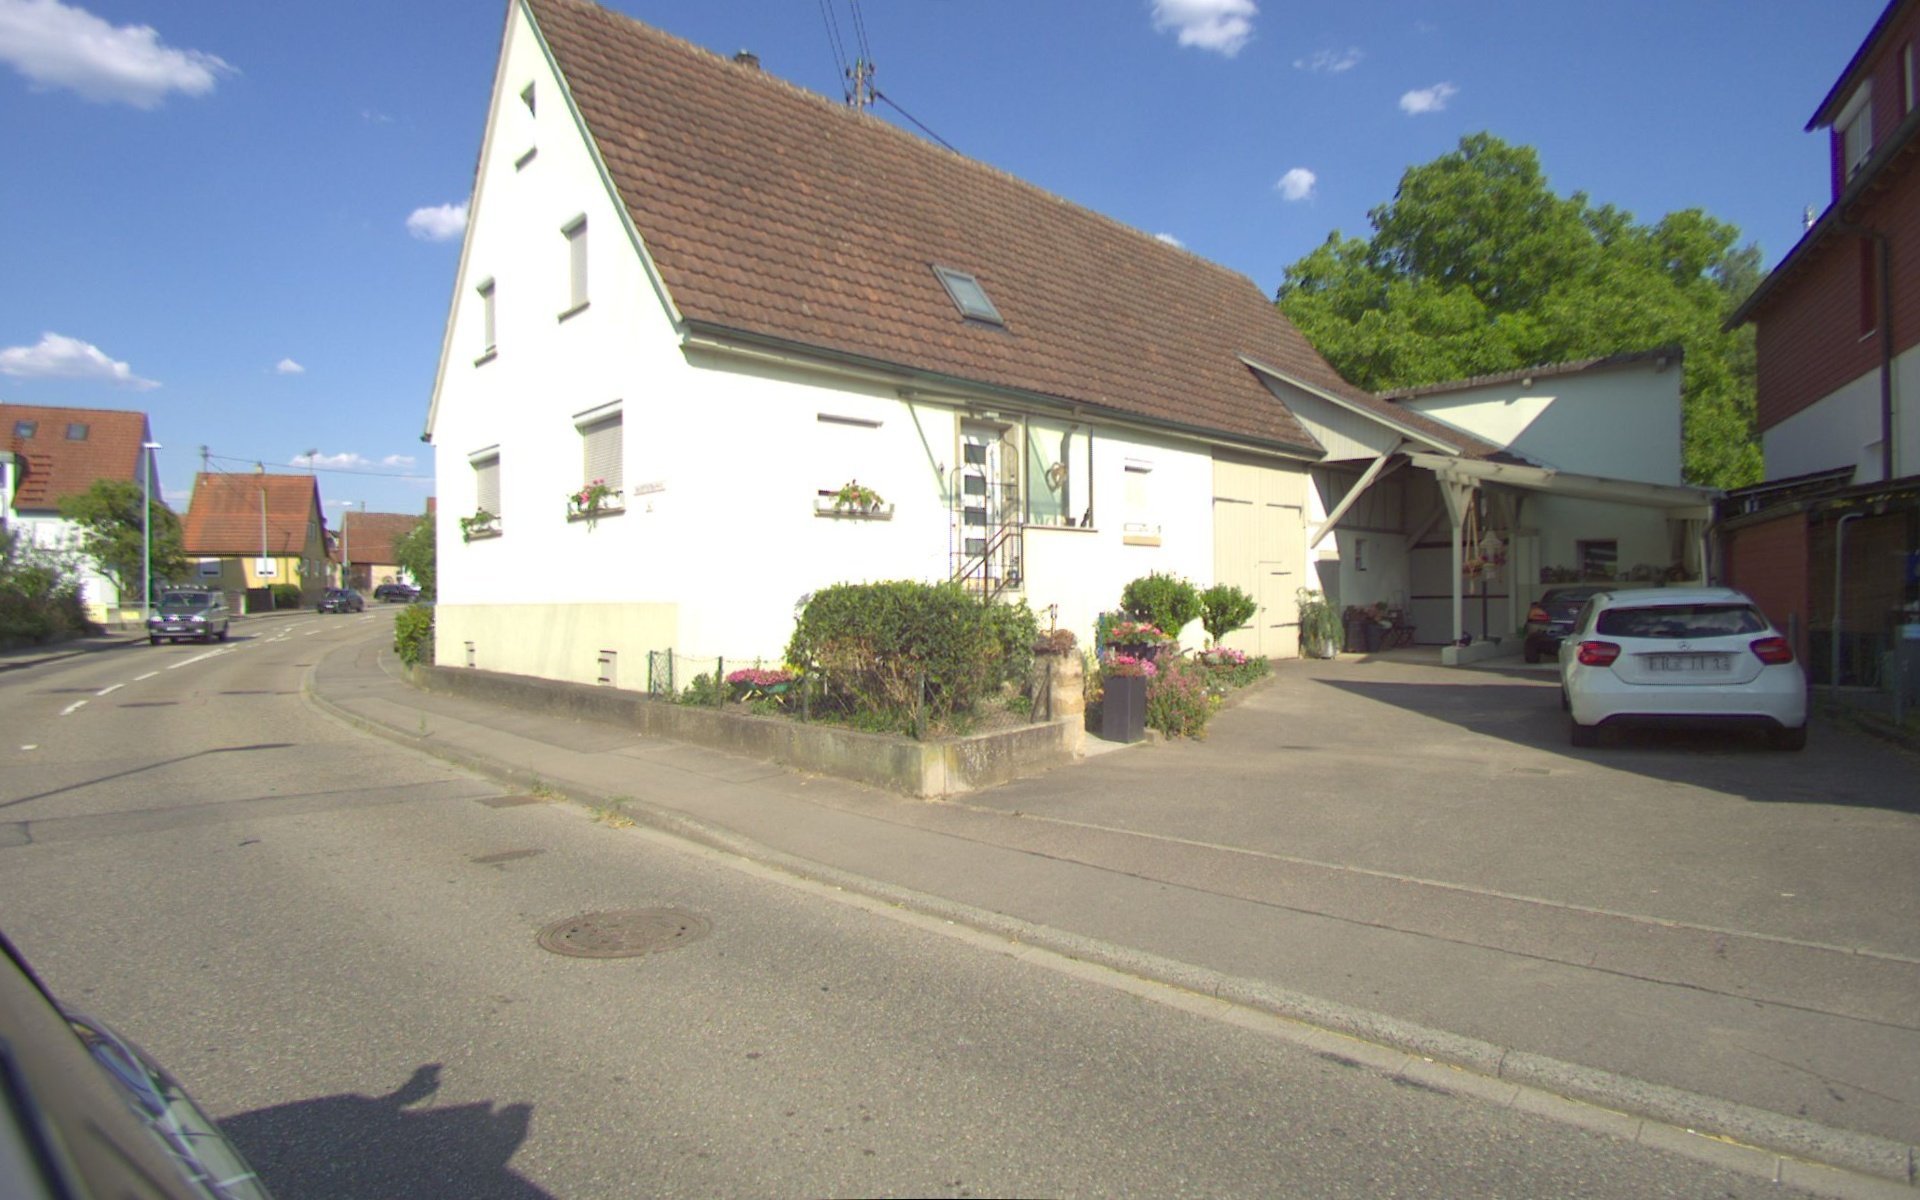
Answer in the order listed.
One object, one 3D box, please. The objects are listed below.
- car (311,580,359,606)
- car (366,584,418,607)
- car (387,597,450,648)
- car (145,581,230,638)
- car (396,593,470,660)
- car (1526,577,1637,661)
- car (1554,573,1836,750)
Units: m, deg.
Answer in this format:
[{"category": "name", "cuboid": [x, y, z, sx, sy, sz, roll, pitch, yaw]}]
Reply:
[{"category": "car", "cuboid": [-42.726, -0.477, 69.266, 1.940, 1.669, 4.013, 1, 0, -18]}, {"category": "car", "cuboid": [-53.241, -0.434, 94.977, 3.931, 2.029, 1.981, 1, 0, -20]}, {"category": "car", "cuboid": [-17.115, 0.671, 32.110, 1.487, 1.477, 3.670, -1, 0, -24]}, {"category": "car", "cuboid": [-29.408, 0.352, 38.670, 1.790, 2.015, 4.836, -1, 0, -28]}, {"category": "car", "cuboid": [-13.825, 0.645, 26.665, 1.487, 1.605, 3.670, -1, 0, -24]}, {"category": "car", "cuboid": [11.727, 0.291, 19.276, 1.606, 1.423, 3.858, -1, 1, 29]}, {"category": "car", "cuboid": [7.150, 0.484, 10.258, 1.811, 1.423, 3.858, -2, 0, 29]}]
